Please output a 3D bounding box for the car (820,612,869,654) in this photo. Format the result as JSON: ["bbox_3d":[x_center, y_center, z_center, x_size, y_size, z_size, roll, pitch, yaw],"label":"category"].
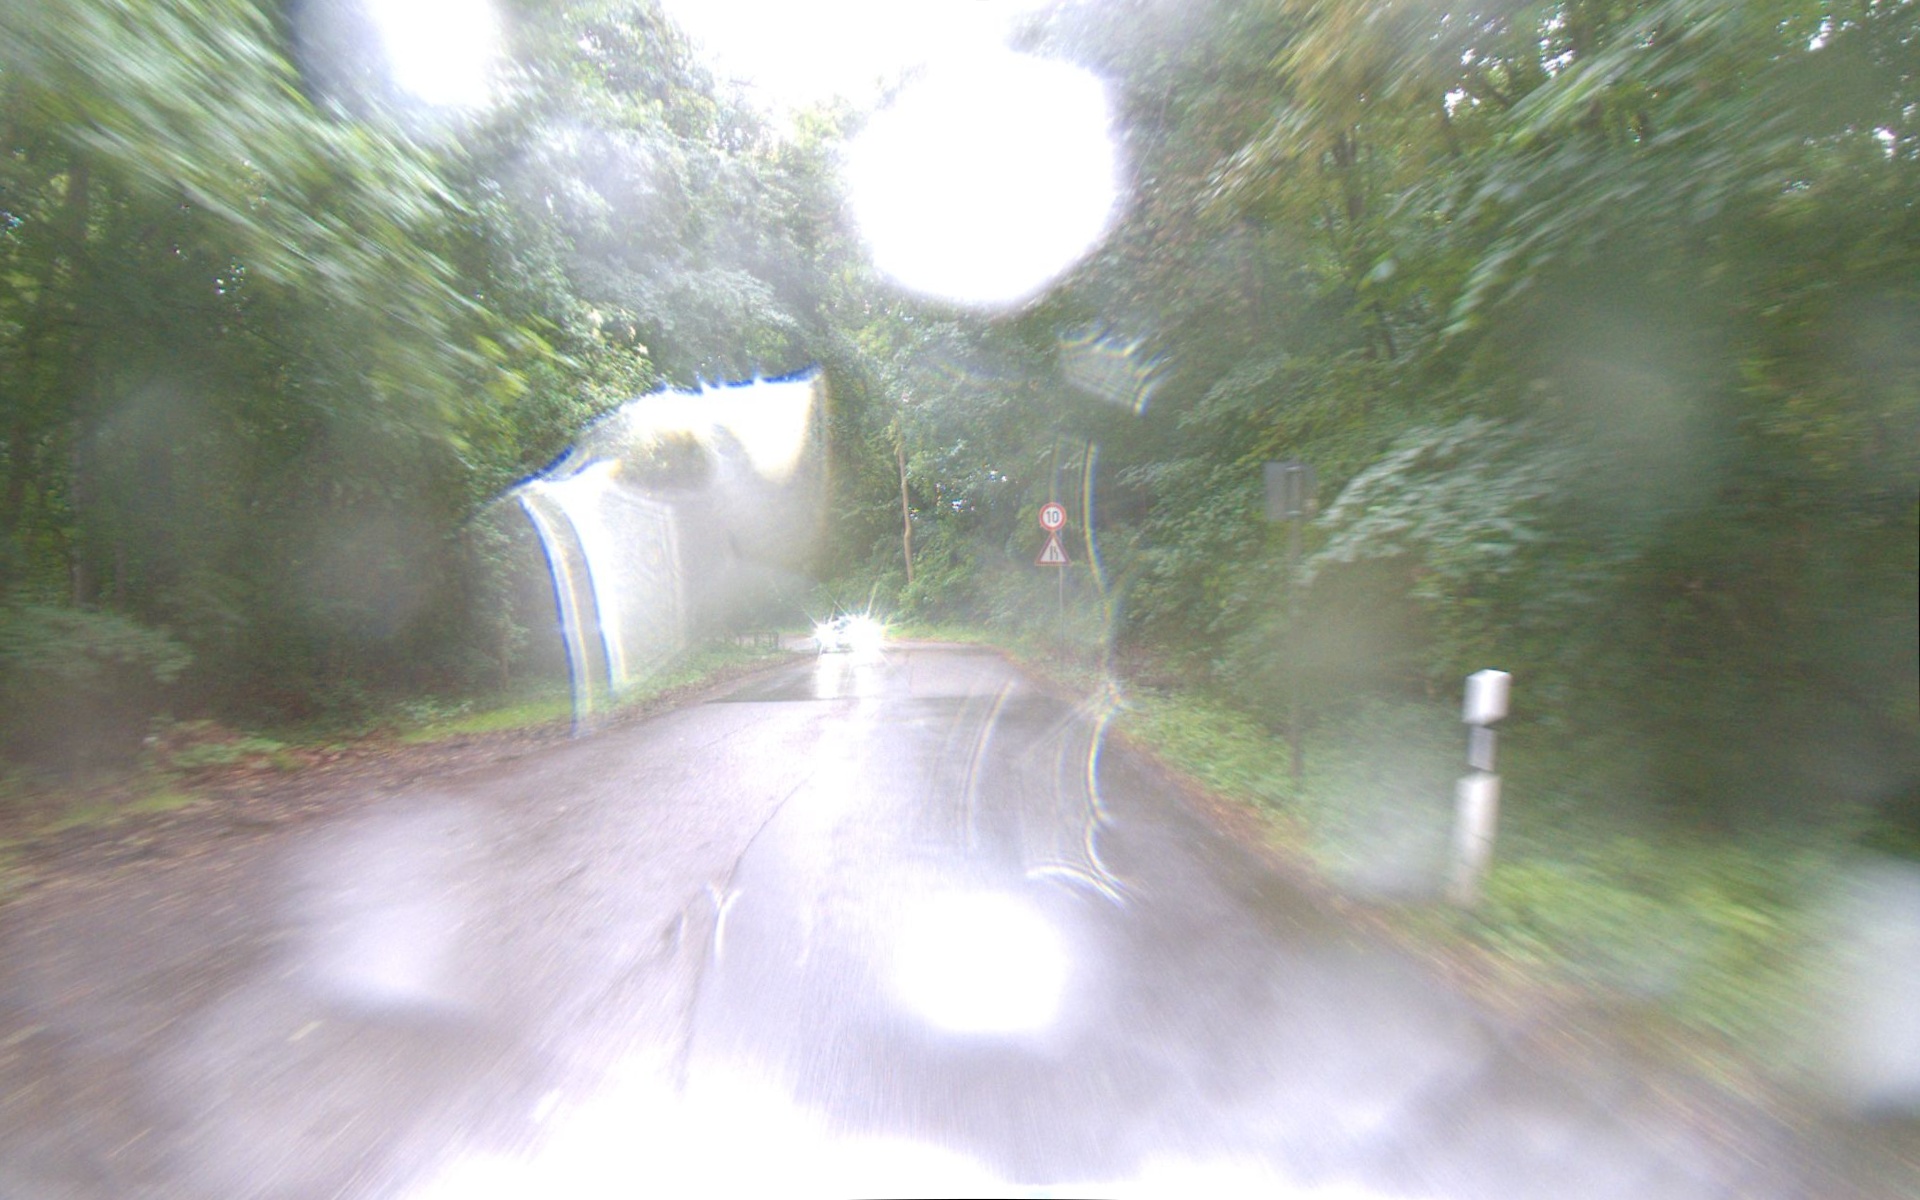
[{"bbox_3d":[-4.451,1.240,64.046,1.679,1.501,3.889,-3,0,-2],"label":"car"}]
